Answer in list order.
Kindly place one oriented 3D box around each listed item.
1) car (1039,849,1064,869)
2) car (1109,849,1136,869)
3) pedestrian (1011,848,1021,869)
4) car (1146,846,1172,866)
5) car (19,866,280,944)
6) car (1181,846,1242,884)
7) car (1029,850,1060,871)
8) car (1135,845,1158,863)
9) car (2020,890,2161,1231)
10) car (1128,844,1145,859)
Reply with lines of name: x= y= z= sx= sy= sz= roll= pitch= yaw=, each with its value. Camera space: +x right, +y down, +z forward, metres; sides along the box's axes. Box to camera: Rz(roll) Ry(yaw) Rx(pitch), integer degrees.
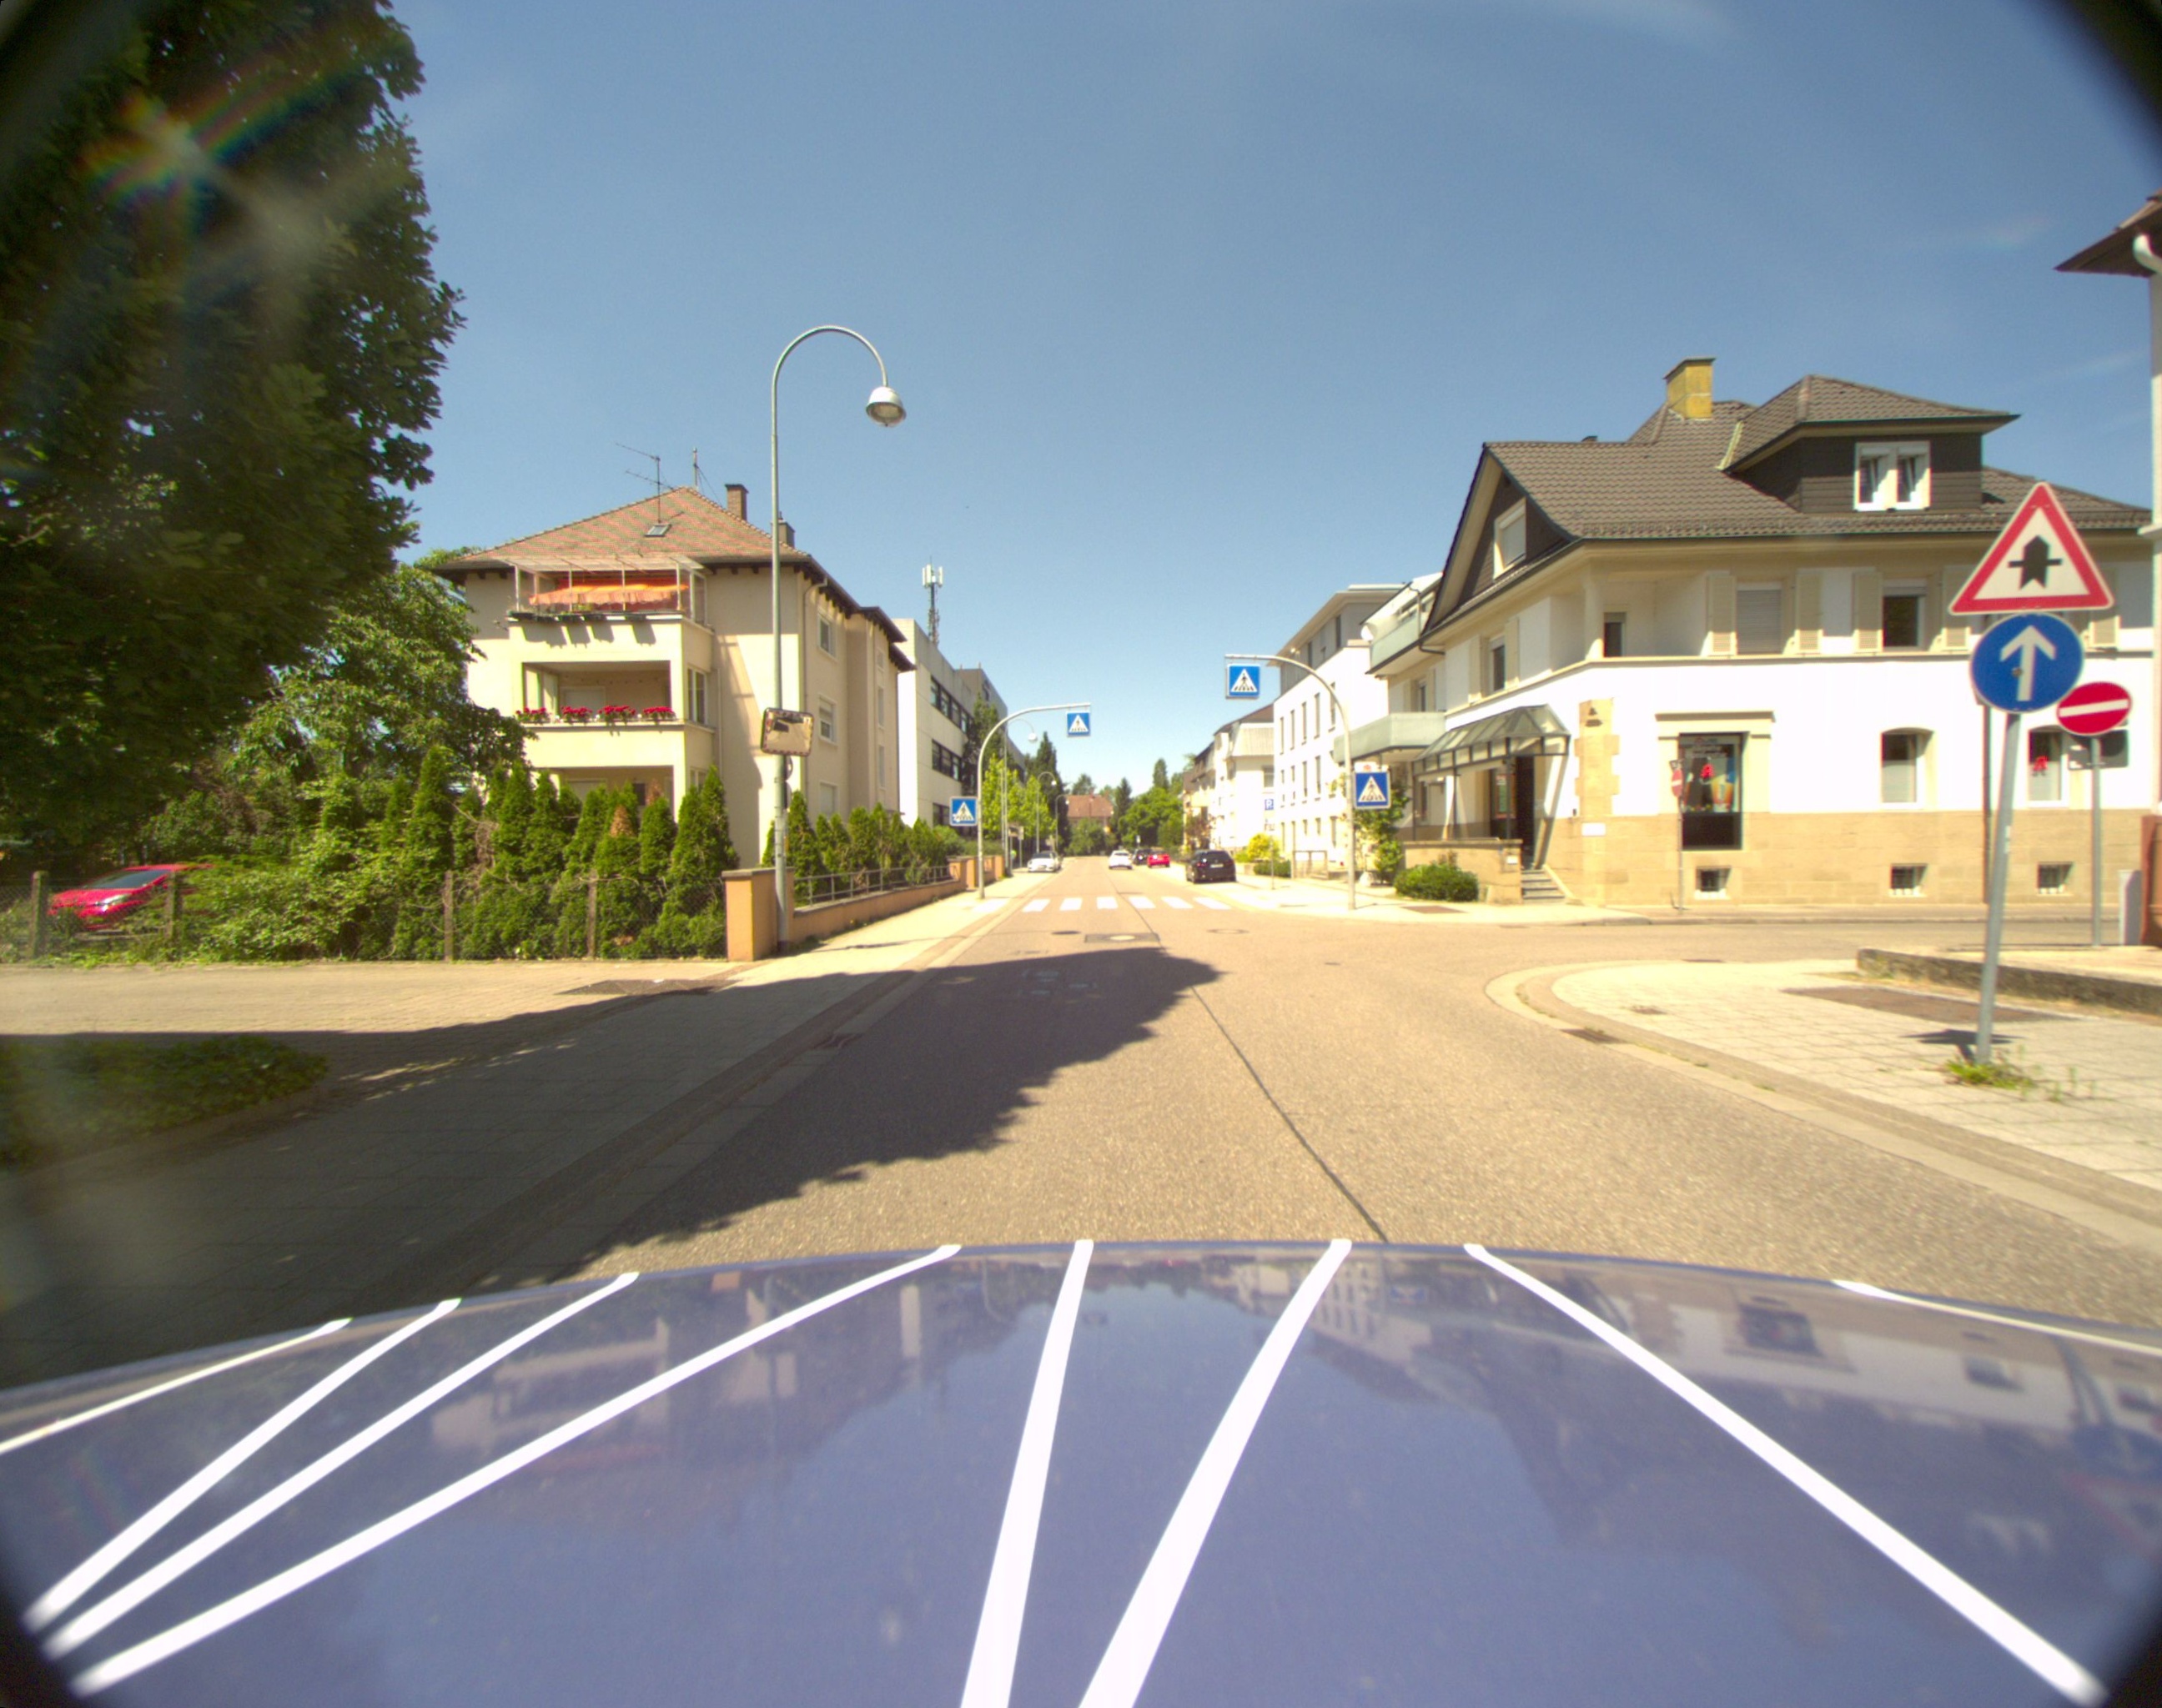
car: x=-2.310 y=0.354 z=60.147 sx=1.714 sy=1.490 sz=3.877 roll=0 pitch=1 yaw=1
car: x=3.249 y=0.354 z=60.320 sx=1.812 sy=1.474 sz=3.868 roll=1 pitch=1 yaw=-1
pedestrian: x=-5.237 y=0.346 z=61.136 sx=0.680 sy=1.690 sz=1.050 roll=1 pitch=2 yaw=1
car: x=6.373 y=0.165 z=62.287 sx=1.737 sy=1.444 sz=4.260 roll=-4 pitch=1 yaw=1
car: x=-20.407 y=1.036 z=16.900 sx=1.612 sy=1.450 sz=3.501 roll=-1 pitch=1 yaw=-5
car: x=5.871 y=0.445 z=34.766 sx=1.921 sy=1.444 sz=5.149 roll=-4 pitch=1 yaw=1
car: x=-2.572 y=0.448 z=54.943 sx=1.920 sy=1.460 sz=4.880 roll=0 pitch=1 yaw=1
car: x=6.299 y=-0.024 z=73.583 sx=1.925 sy=1.577 sz=4.435 roll=-4 pitch=1 yaw=1
car: x=5.367 y=0.869 z=1.039 sx=1.947 sy=1.365 sz=5.098 roll=-2 pitch=1 yaw=1
car: x=6.806 y=-0.280 z=93.482 sx=1.925 sy=1.681 sz=4.287 roll=-4 pitch=1 yaw=2
